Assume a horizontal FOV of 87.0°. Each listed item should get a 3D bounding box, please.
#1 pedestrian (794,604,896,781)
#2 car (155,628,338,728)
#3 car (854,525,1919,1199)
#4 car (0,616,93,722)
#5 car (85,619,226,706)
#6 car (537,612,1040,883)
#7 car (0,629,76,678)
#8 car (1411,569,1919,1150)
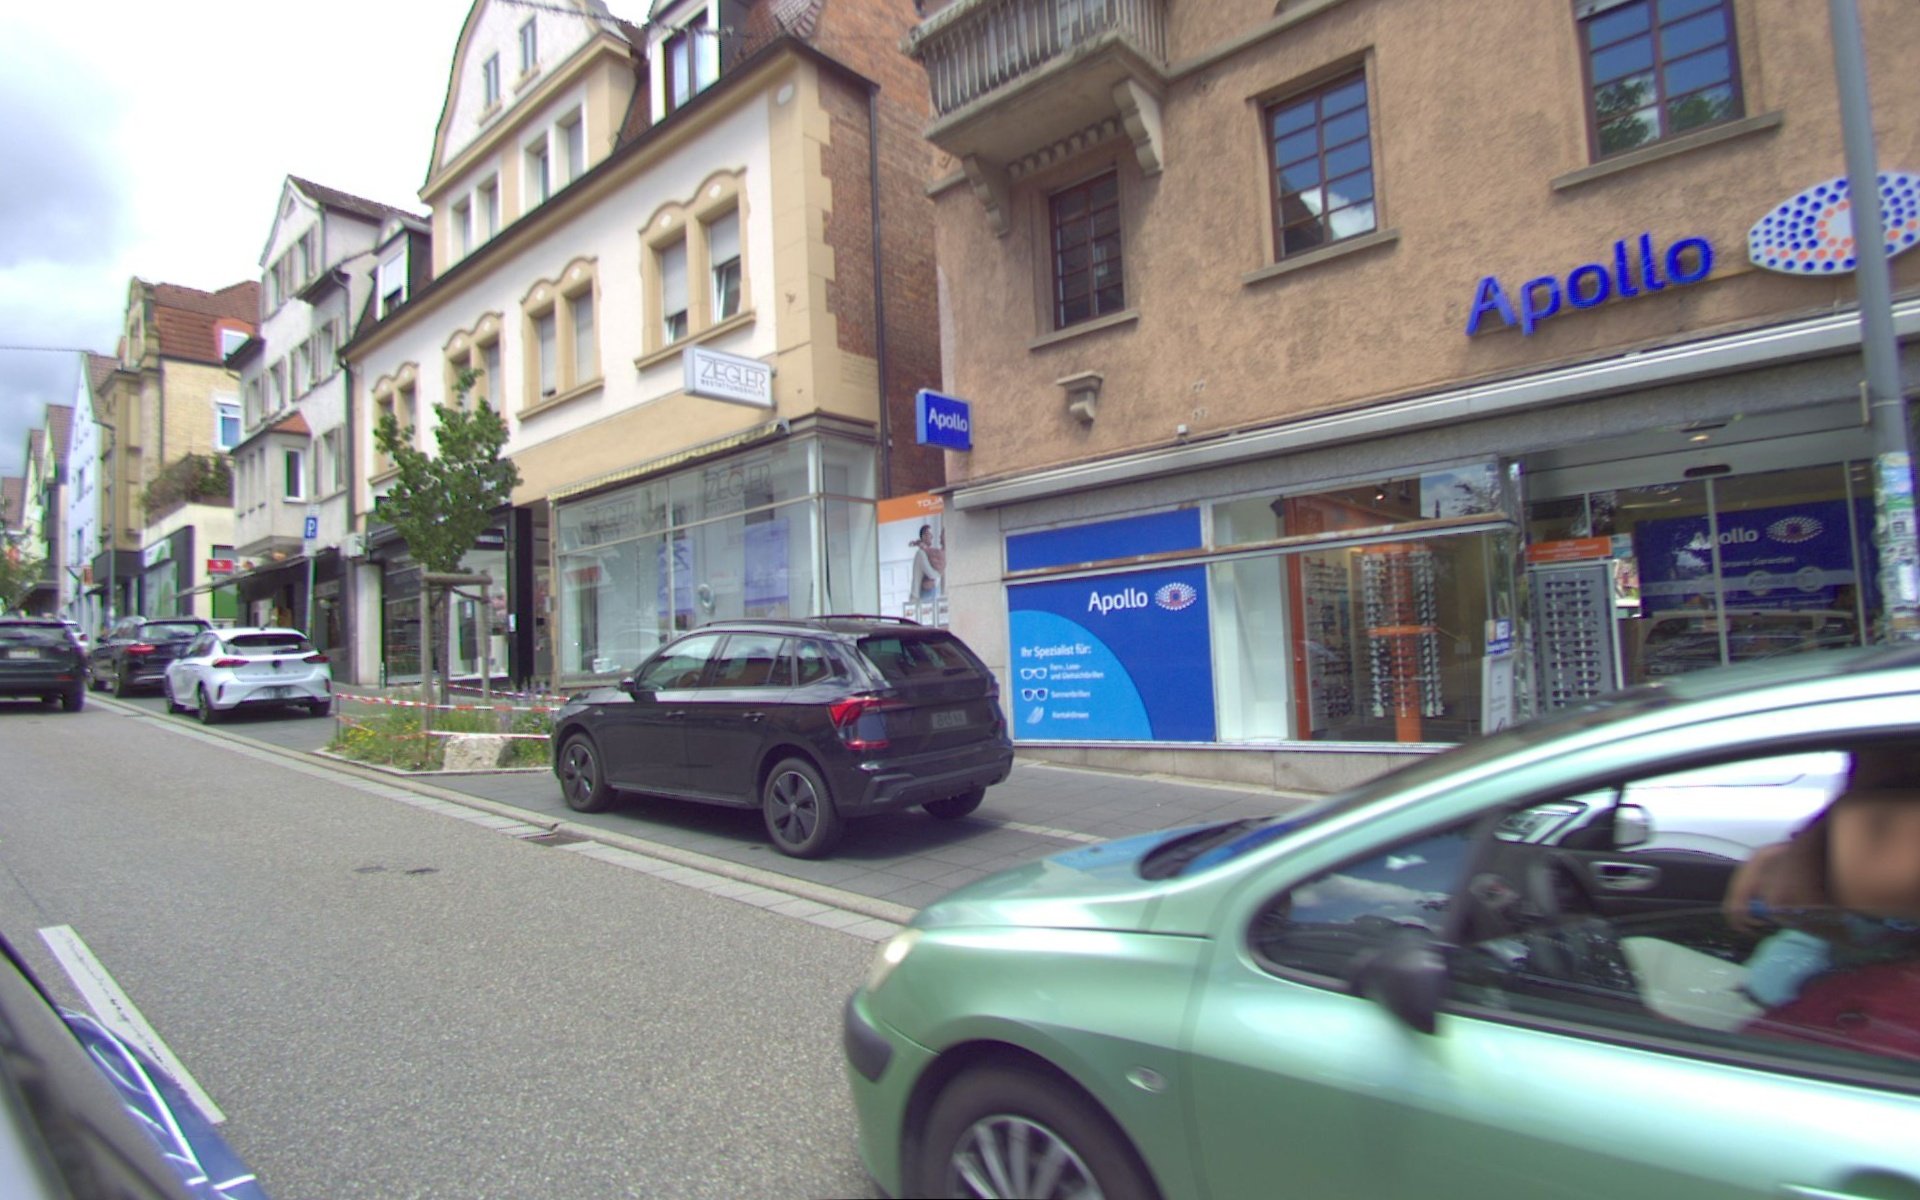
[{"bbox_3d":[-1.096,0.854,9.676,0.650,1.585,0.621,-2,1,41],"label":"pedestrian"},{"bbox_3d":[-11.771,1.192,16.630,3.502,1.442,1.709,-1,-2,42],"label":"car"},{"bbox_3d":[1.865,0.692,1.443,4.152,1.512,1.664,-2,-3,42],"label":"car"},{"bbox_3d":[-16.738,1.145,17.702,3.857,1.702,1.806,-1,-3,41],"label":"car"},{"bbox_3d":[-17.220,1.260,21.605,3.991,1.692,1.709,-1,-2,42],"label":"car"},{"bbox_3d":[-1.481,0.904,7.802,3.960,1.538,1.647,-2,0,40],"label":"car"},{"bbox_3d":[-30.774,1.720,33.623,3.528,1.536,1.668,-1,-2,42],"label":"car"},{"bbox_3d":[3.867,0.696,2.834,4.451,1.585,1.708,-2,-2,40],"label":"car"}]
